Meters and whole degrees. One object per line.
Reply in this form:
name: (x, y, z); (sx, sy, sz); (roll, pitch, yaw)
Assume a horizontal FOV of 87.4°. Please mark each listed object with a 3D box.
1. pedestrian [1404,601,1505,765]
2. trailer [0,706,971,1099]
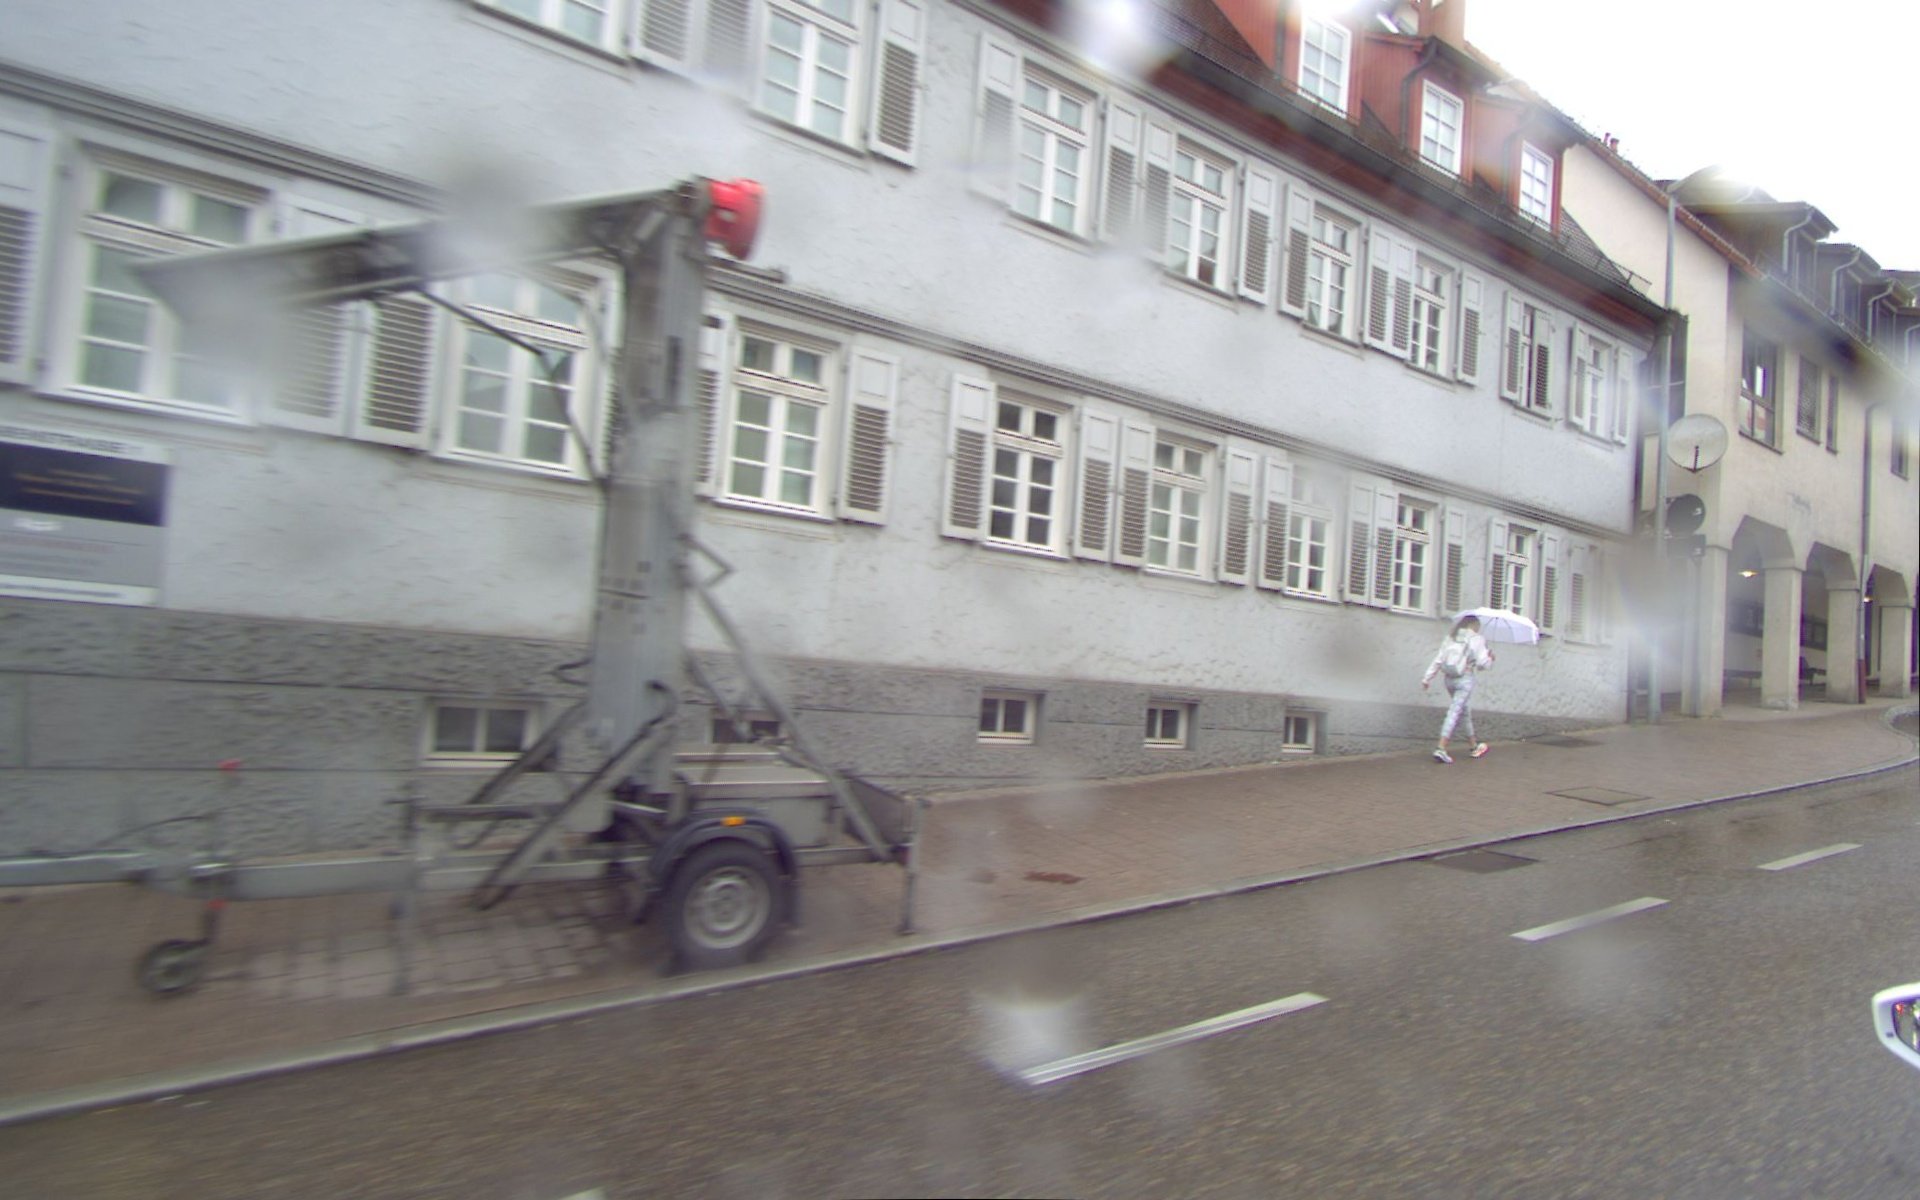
pedestrian: (5.563, 0.905, 11.303); (0.726, 1.763, 0.685); (1, 1, -29)
trailer: (-2.350, 1.121, 4.664); (4.424, 0.917, 1.984); (1, 0, -30)
